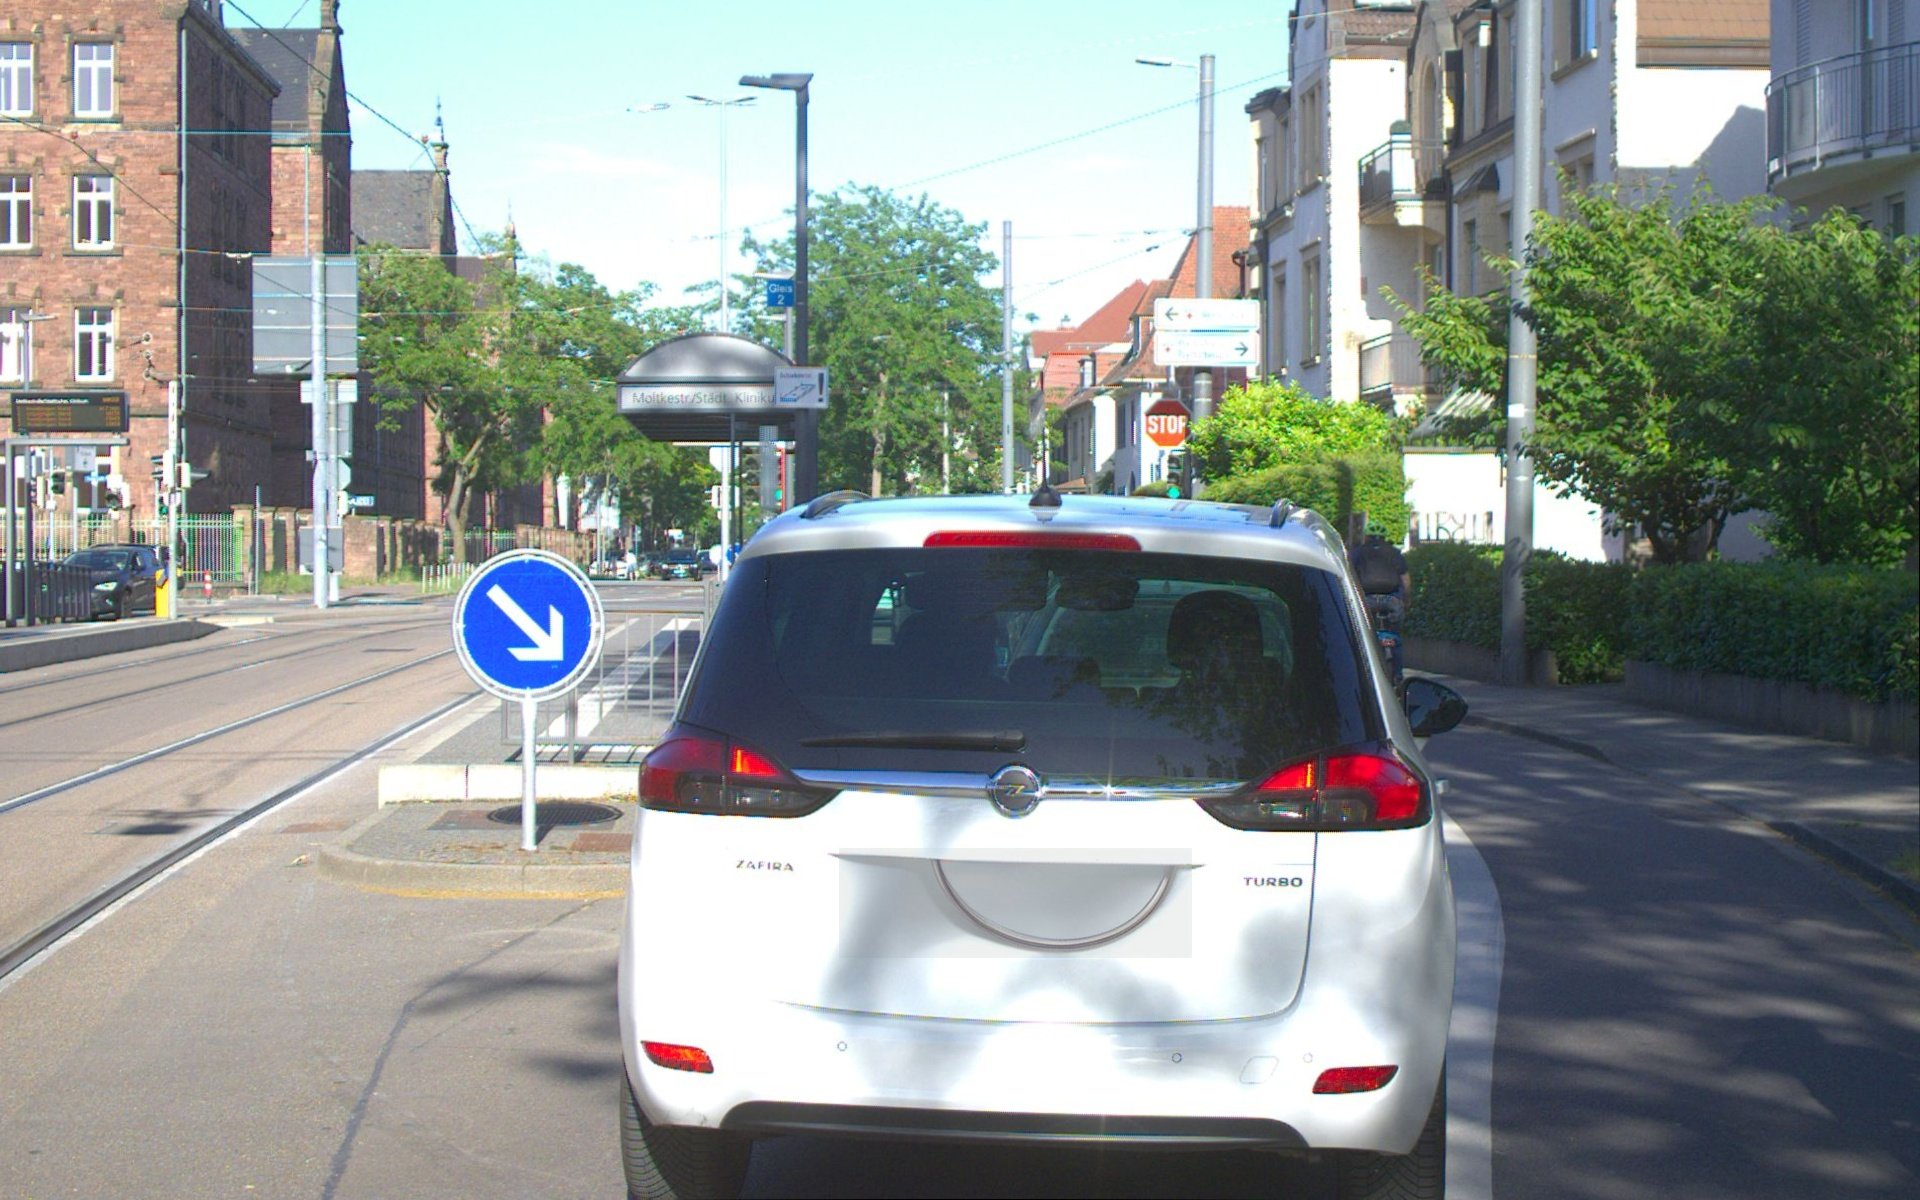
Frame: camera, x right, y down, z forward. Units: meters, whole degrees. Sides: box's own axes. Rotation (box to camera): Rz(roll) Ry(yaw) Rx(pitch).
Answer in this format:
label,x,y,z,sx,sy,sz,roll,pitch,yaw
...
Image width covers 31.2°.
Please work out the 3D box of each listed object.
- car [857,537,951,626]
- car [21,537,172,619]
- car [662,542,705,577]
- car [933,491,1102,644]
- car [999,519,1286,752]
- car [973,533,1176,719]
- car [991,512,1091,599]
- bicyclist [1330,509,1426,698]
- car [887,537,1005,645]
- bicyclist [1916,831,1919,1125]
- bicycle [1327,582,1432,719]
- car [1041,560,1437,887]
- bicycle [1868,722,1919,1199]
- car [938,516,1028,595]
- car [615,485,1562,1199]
label,x,y,z,sx,sy,sz,roll,pitch,yaw
car,-1.100,-0.373,67.716,1.776,1.687,3.881,1,1,-1
car,-17.012,-0.437,67.883,1.993,1.541,4.000,1,1,-1
car,-13.440,-1.994,167.304,1.906,1.671,4.358,1,1,-3
car,0.606,-0.372,39.083,1.776,1.626,3.881,1,1,-1
car,1.318,0.232,26.289,1.776,1.626,3.881,1,1,-3
car,1.035,0.214,32.431,1.776,1.626,3.880,1,1,1
car,1.562,-0.868,67.320,1.776,1.626,3.881,1,1,-1
bicyclist,3.676,0.023,30.308,0.685,1.629,1.015,1,0,-1
car,-0.227,-0.156,54.121,1.776,1.626,3.881,1,1,0
bicyclist,2.745,0.553,8.014,0.821,1.496,0.934,1,0,5
bicycle,3.679,0.430,30.243,0.685,1.153,1.619,1,1,-1
car,1.289,0.527,17.242,1.586,1.415,3.900,0,1,-1
bicycle,2.747,0.924,7.974,0.829,1.150,2.094,2,1,4
car,0.463,-0.941,73.100,1.776,1.626,3.881,1,1,-1
car,0.171,0.586,8.676,1.834,1.636,3.919,1,1,-2
